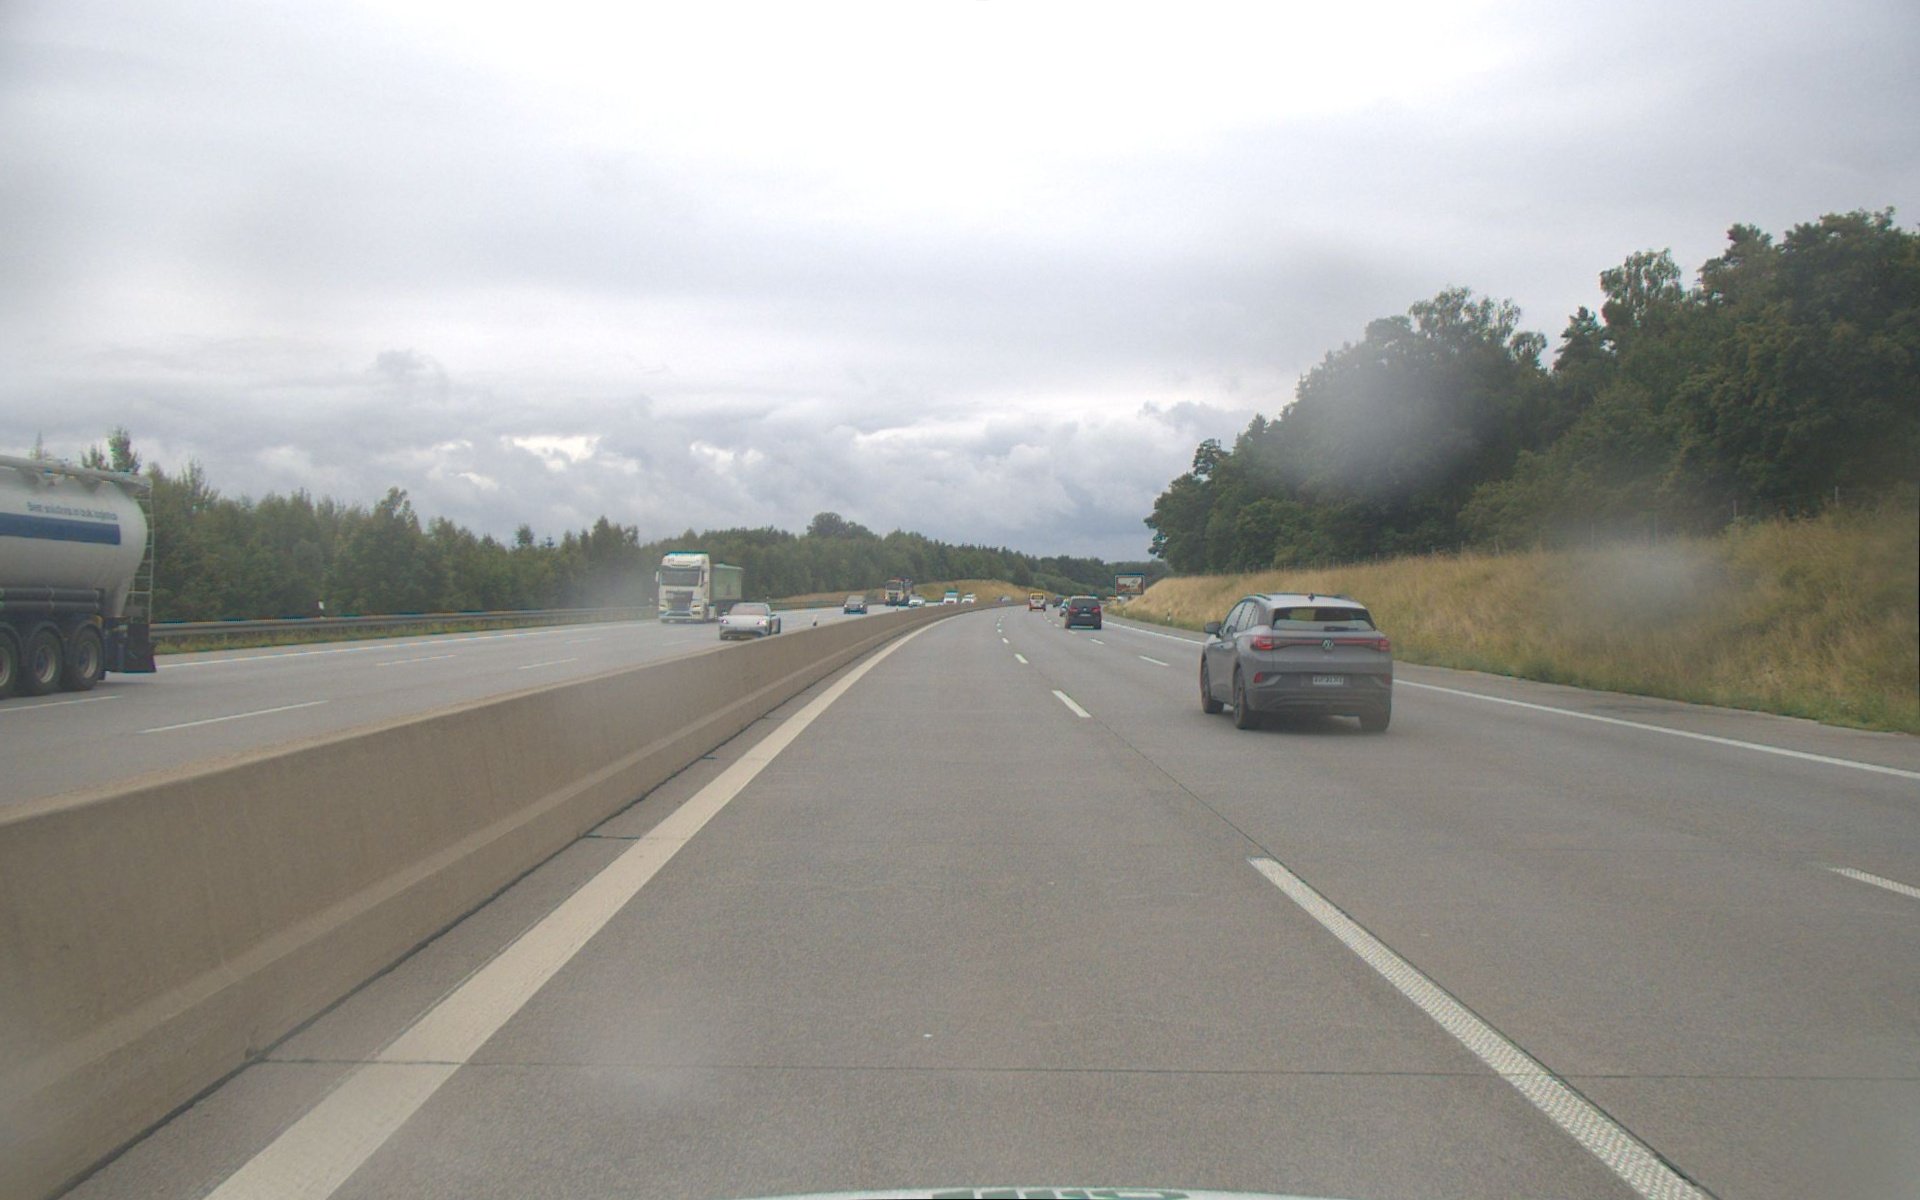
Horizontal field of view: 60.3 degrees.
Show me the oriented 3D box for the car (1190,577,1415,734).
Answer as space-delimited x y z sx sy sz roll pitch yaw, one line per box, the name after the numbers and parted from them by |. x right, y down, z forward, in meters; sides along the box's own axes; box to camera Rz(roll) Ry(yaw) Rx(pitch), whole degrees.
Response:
4.255 0.593 21.417 1.859 1.719 5.267 1 1 1 | car

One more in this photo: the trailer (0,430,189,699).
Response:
-15.843 -0.551 25.128 2.702 4.068 12.287 1 1 -1 | trailer

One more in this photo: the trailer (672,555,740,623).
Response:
-15.306 -0.665 100.313 2.693 3.866 9.316 0 0 0 | trailer

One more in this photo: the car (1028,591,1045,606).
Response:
8.716 -0.189 187.833 1.802 1.526 4.003 -2 1 4 | car

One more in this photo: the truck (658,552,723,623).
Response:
-15.327 -0.668 94.316 2.694 3.869 5.531 1 0 1 | truck

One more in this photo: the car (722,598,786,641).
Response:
-8.019 0.728 64.717 1.953 1.466 4.767 2 1 -1 | car

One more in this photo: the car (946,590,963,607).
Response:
-0.673 -0.258 214.065 1.952 2.048 5.526 2 1 1 | car

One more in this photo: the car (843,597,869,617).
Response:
-9.200 0.606 146.480 1.952 1.617 4.771 1 0 0 | car

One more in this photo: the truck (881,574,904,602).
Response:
-9.142 -1.596 224.362 2.532 3.716 7.663 0 0 2 | truck

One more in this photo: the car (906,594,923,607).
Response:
-5.595 0.013 204.624 1.700 1.391 4.099 3 2 3 | car

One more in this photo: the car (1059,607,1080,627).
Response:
9.403 1.440 141.495 1.763 1.490 3.813 1 2 4 | car

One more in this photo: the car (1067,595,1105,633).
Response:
6.607 0.704 86.880 1.748 1.777 3.916 -2 1 2 | car
